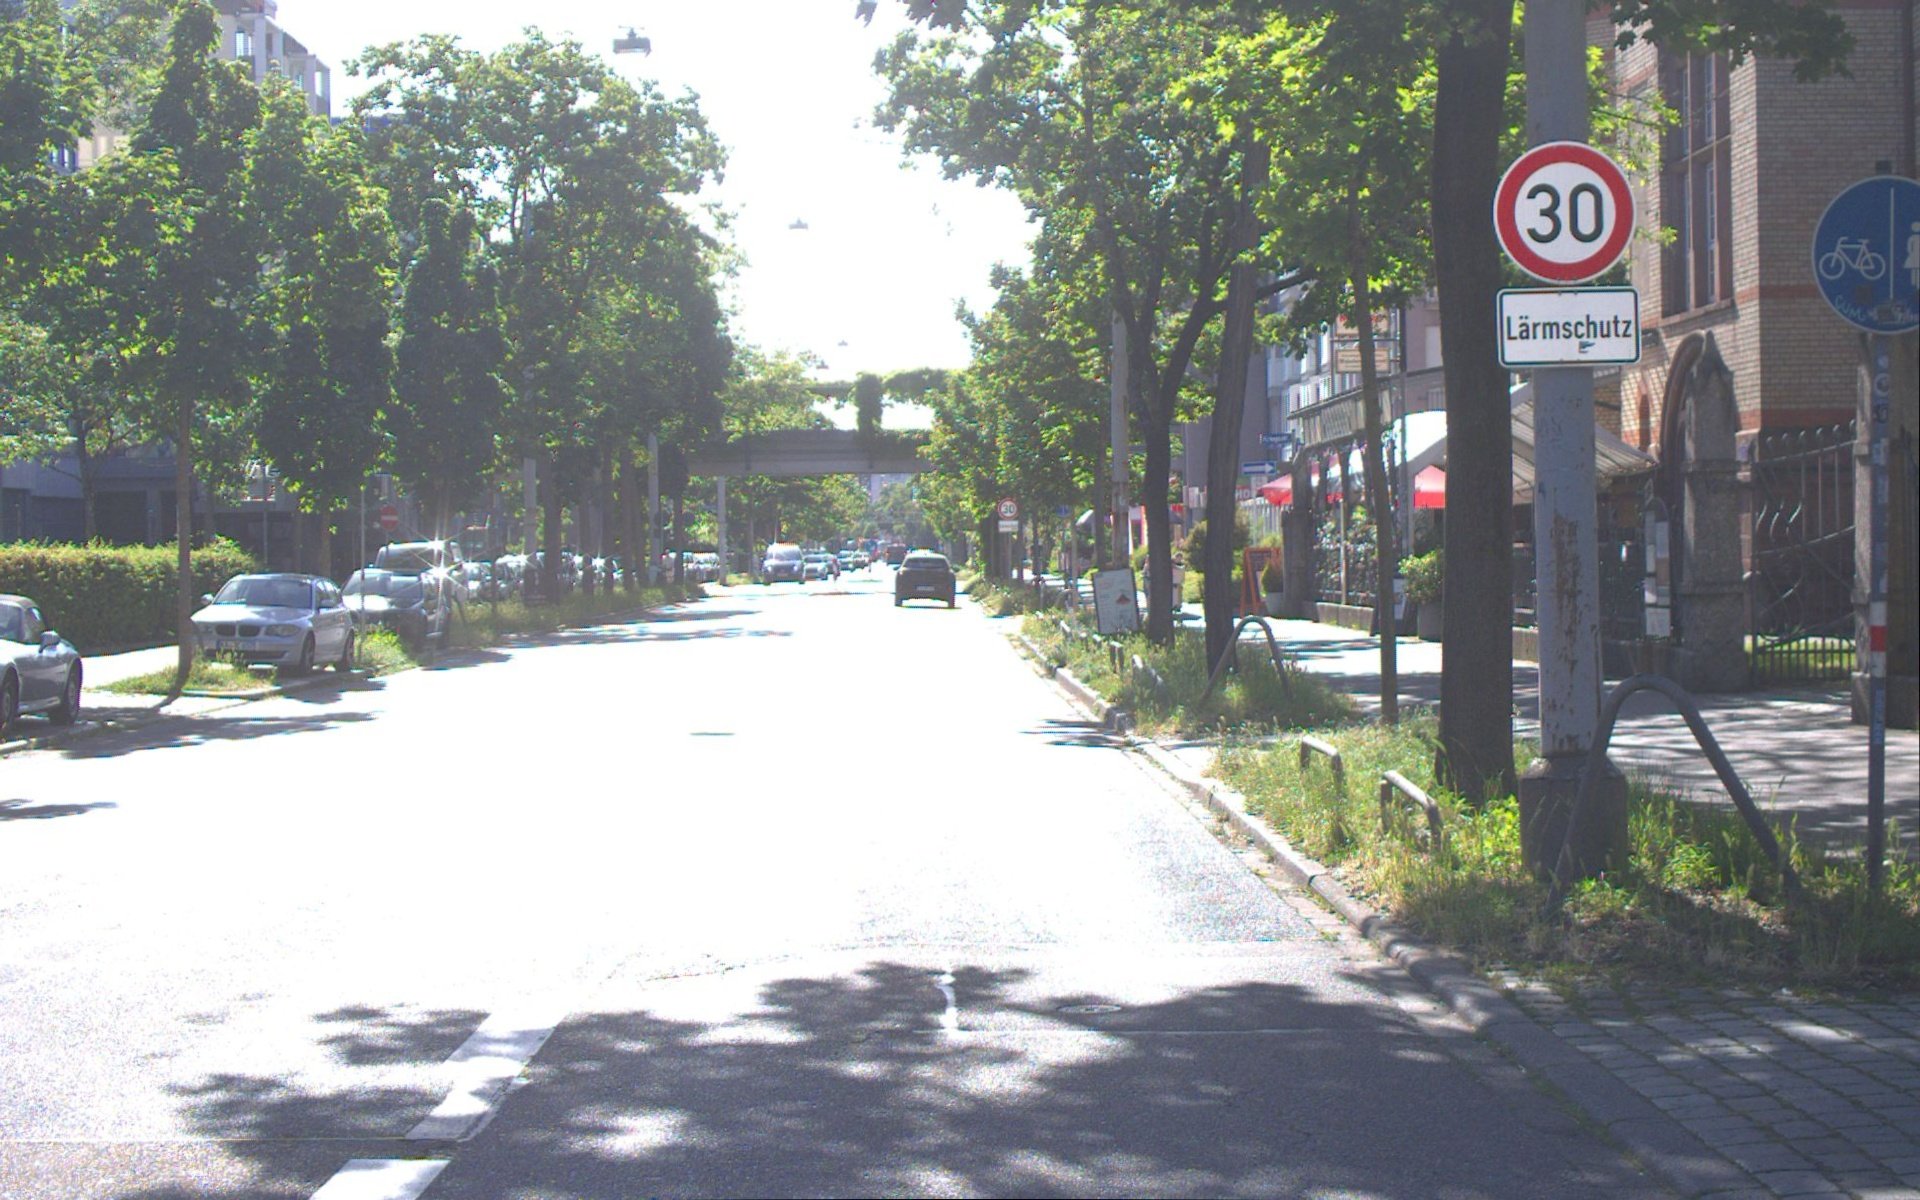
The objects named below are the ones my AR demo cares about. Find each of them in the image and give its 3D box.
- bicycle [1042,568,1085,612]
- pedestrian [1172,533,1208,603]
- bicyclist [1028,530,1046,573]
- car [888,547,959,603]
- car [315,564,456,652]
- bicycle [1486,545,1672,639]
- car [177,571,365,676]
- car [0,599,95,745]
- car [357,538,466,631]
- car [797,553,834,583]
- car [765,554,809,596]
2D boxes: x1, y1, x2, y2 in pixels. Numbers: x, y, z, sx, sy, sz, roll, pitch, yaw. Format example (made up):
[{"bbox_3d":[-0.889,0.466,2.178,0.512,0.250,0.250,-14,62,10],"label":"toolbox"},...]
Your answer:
[{"bbox_3d":[2.586,-0.257,85.493,0.591,1.062,2.021,0,1,16],"label":"bicycle"},{"bbox_3d":[5.398,-0.744,80.802,0.653,1.598,0.603,-3,0,-6],"label":"pedestrian"},{"bbox_3d":[3.056,-1.902,136.043,0.667,1.689,0.889,0,0,-2],"label":"bicyclist"},{"bbox_3d":[-1.088,-0.740,100.285,1.984,1.595,4.141,0,1,-2],"label":"car"},{"bbox_3d":[-9.971,0.117,59.866,1.712,1.454,4.072,1,1,1],"label":"car"},{"bbox_3d":[7.796,-0.104,43.311,2.195,1.174,0.687,0,0,-6],"label":"bicycle"},{"bbox_3d":[-9.717,0.300,48.760,1.688,1.378,4.191,1,1,2],"label":"car"},{"bbox_3d":[-9.443,0.642,32.211,1.678,1.251,4.015,1,1,0],"label":"car"},{"bbox_3d":[-13.044,-0.392,82.046,1.981,2.069,5.197,-2,1,-3],"label":"car"},{"bbox_3d":[-7.897,-1.758,188.058,1.855,1.563,4.716,-2,1,-1],"label":"car"},{"bbox_3d":[-7.749,-1.134,154.114,1.855,1.819,4.610,-2,1,-2],"label":"car"}]
